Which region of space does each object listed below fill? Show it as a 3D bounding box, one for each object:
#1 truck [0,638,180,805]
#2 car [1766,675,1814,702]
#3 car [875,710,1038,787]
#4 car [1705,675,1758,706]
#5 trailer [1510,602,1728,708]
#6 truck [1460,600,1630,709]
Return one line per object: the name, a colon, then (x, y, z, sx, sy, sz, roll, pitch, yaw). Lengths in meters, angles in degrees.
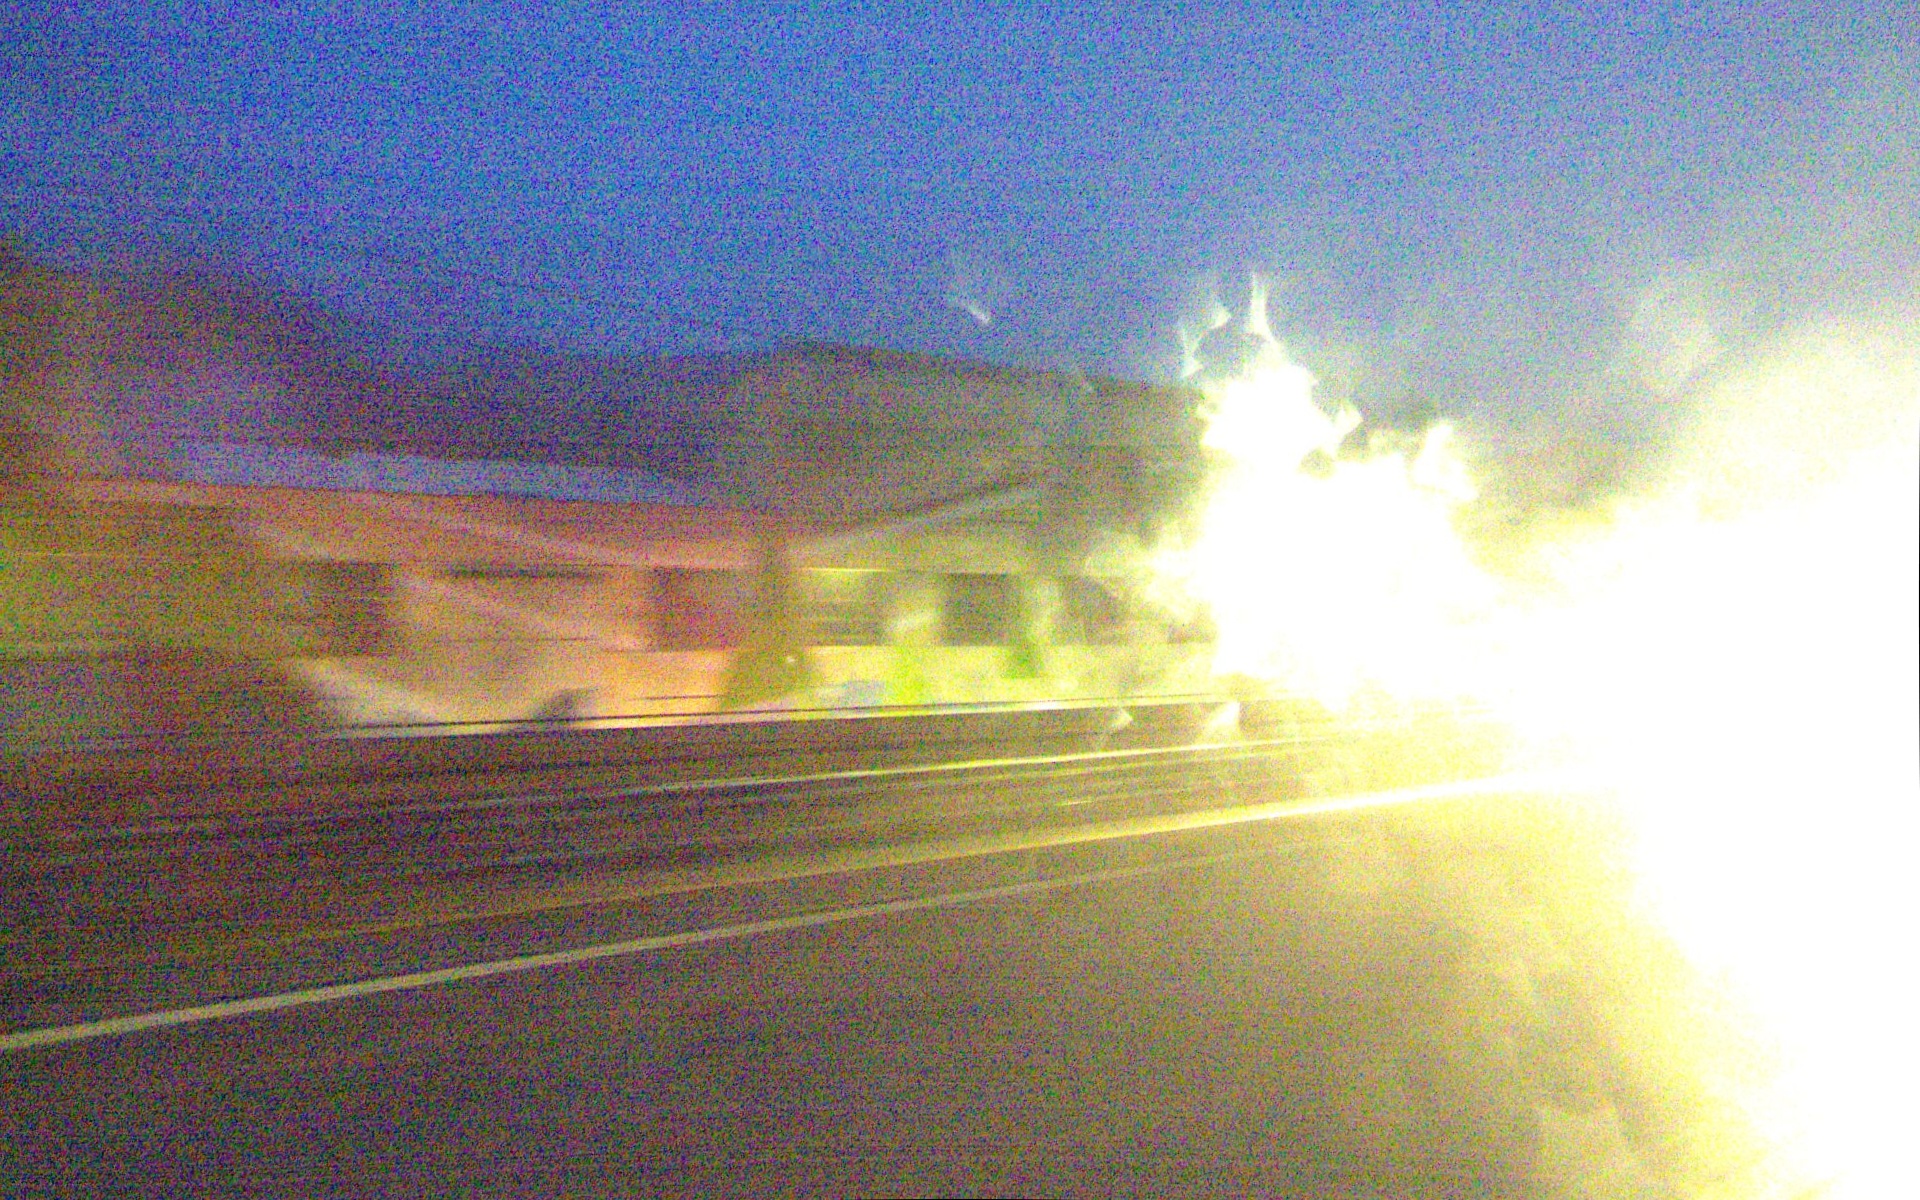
truck: (-22.697, 2.650, 22.314, 7.997, 3.529, 2.747, 1, 0, -26)
car: (57.922, 6.137, 70.079, 4.257, 1.591, 1.793, 2, -1, -40)
car: (-0.074, 4.065, 28.034, 4.244, 1.698, 1.799, 2, 0, -32)
car: (49.917, 5.829, 64.986, 4.257, 1.698, 1.793, 2, -1, -40)
trailer: (32.923, 2.697, 50.039, 11.392, 4.860, 3.319, 2, 0, -23)
truck: (27.888, 2.544, 47.875, 7.215, 4.860, 3.319, 2, 0, -23)
